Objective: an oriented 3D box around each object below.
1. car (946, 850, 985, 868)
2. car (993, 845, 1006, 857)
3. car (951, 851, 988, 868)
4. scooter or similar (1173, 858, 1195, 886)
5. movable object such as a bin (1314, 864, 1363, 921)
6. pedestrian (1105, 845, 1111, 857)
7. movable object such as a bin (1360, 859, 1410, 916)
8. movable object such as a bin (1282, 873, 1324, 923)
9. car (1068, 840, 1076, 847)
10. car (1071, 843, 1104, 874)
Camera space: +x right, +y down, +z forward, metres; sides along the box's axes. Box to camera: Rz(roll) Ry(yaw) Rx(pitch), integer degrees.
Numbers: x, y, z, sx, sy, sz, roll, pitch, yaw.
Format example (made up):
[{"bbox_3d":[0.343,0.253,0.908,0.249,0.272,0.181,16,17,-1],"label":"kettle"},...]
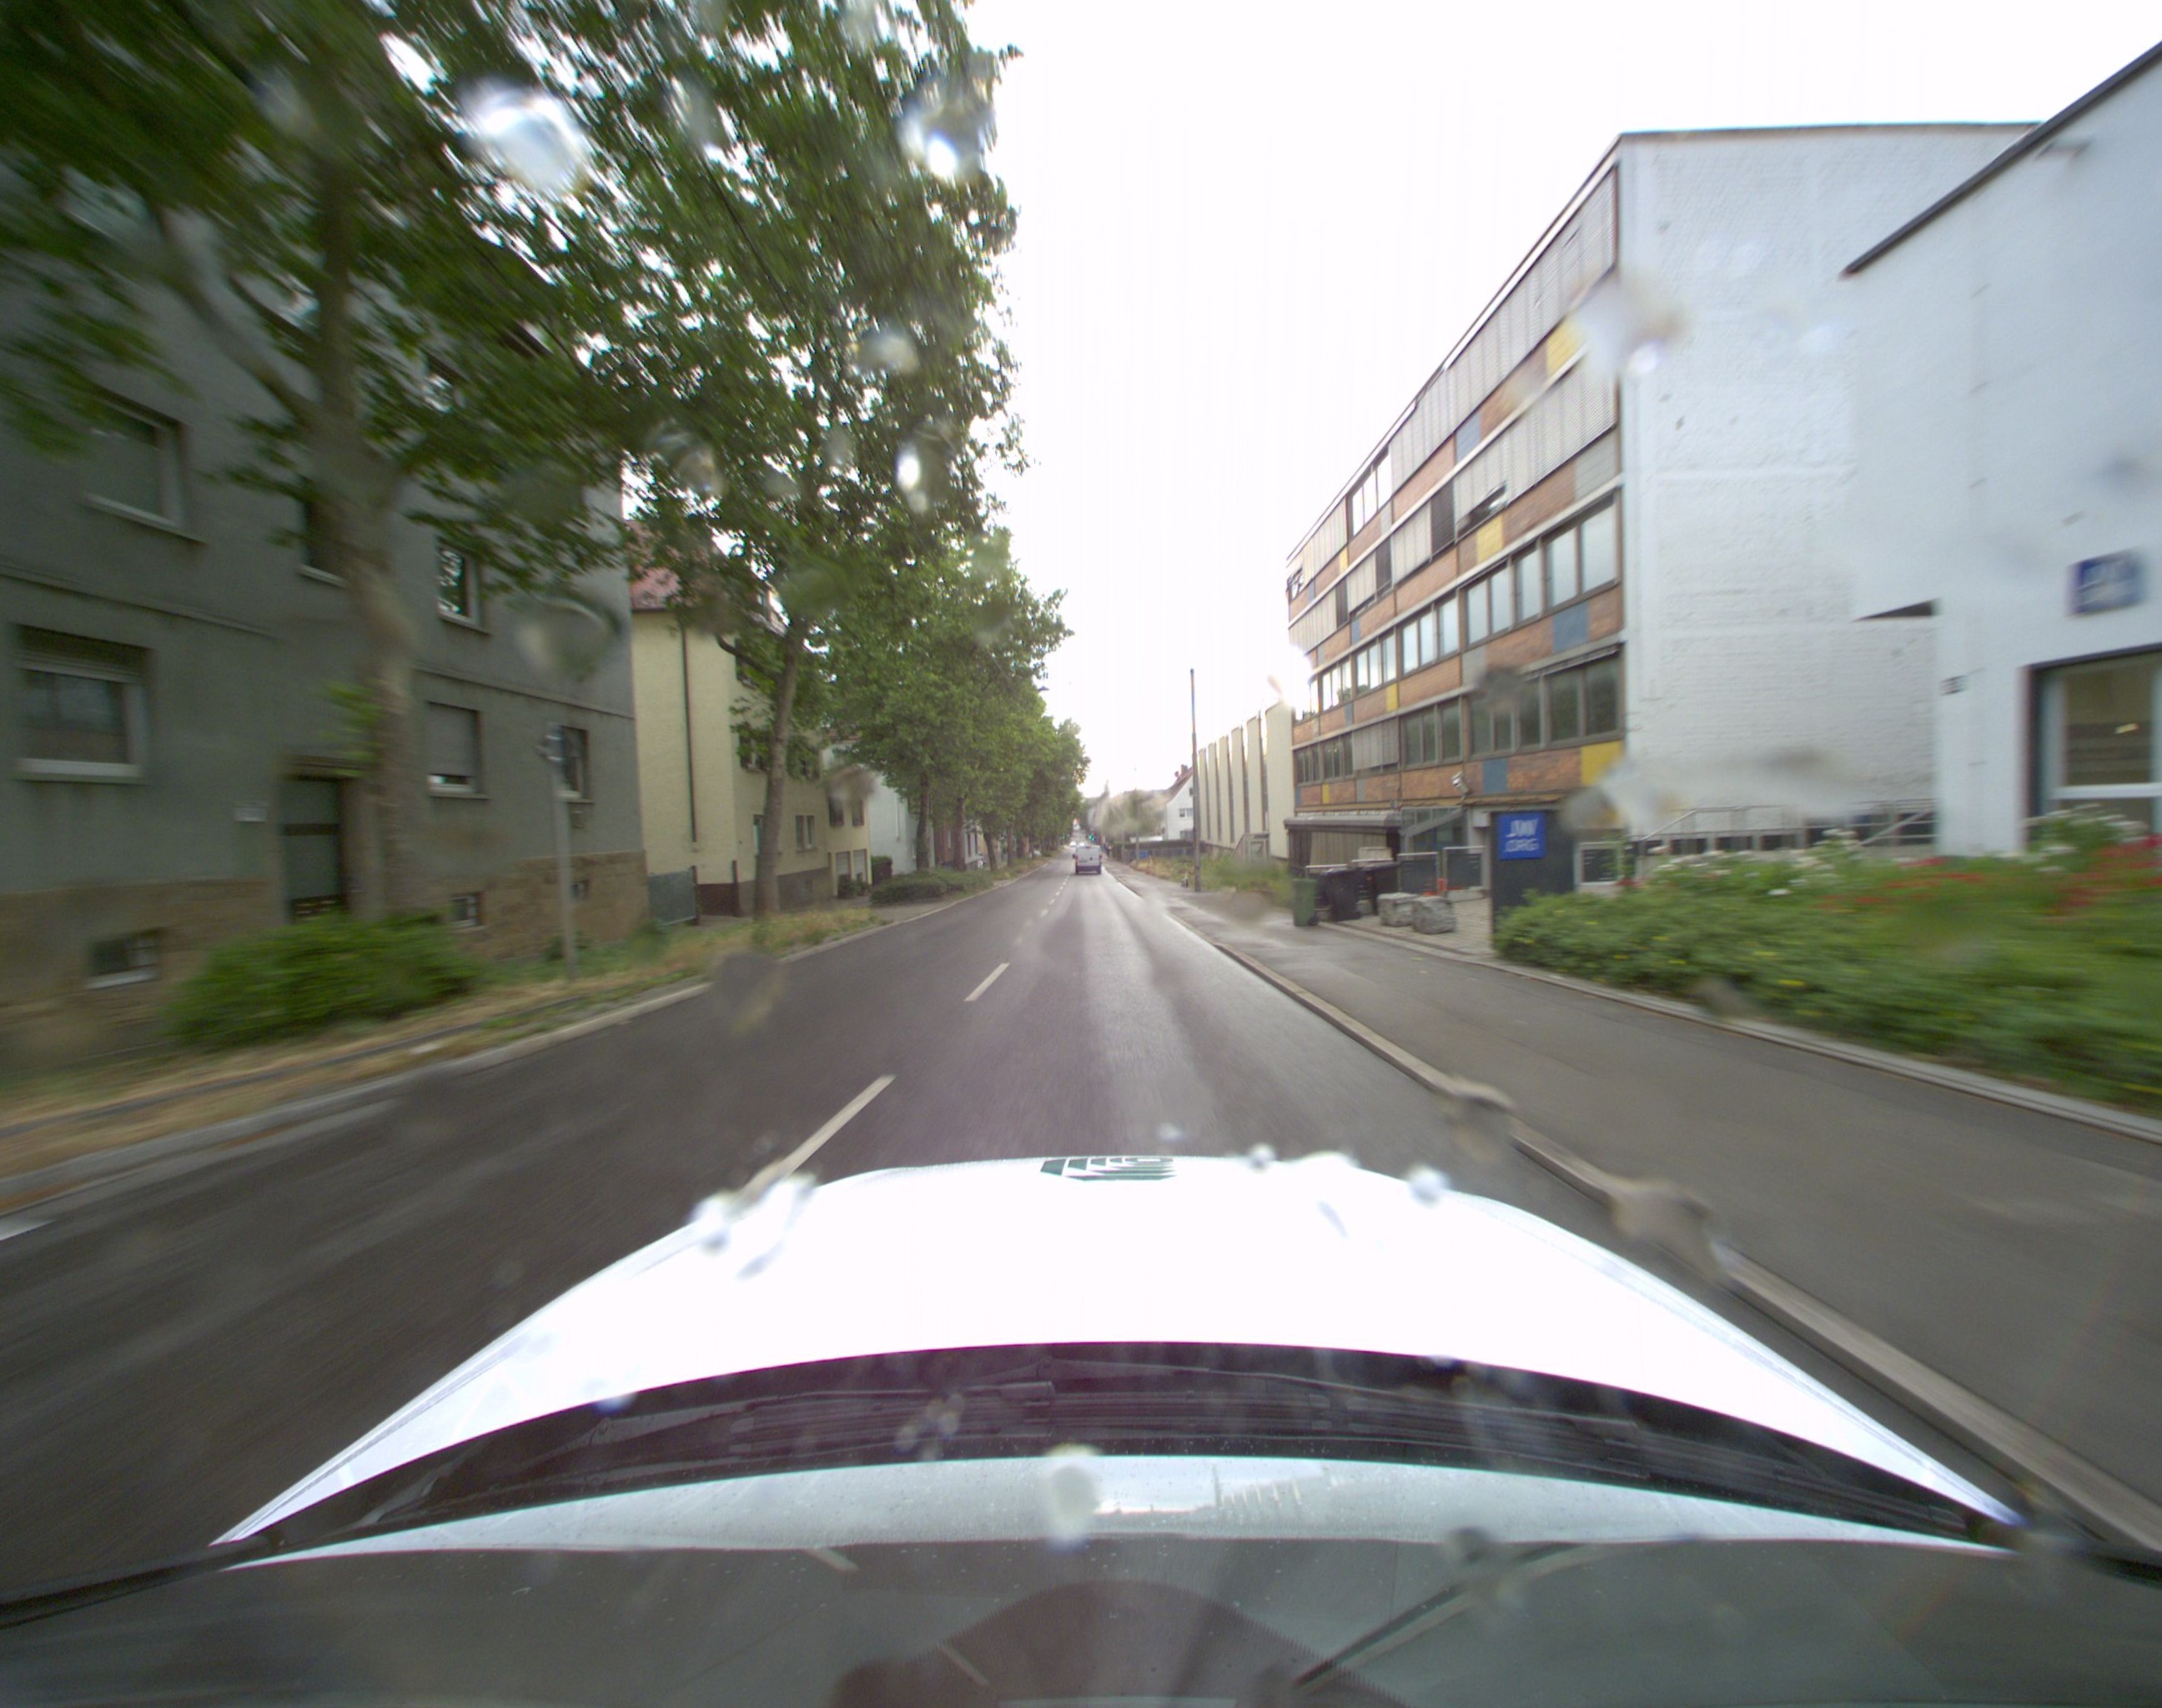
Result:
[{"bbox_3d":[-13.248,0.514,93.858,4.184,1.891,1.999,-2,0,-1],"label":"car"},{"bbox_3d":[-14.333,-0.584,143.196,1.869,1.894,4.000,-2,2,0],"label":"car"},{"bbox_3d":[-13.562,0.615,99.572,4.184,1.891,1.999,-2,0,-1],"label":"car"},{"bbox_3d":[4.467,0.776,35.500,0.604,1.162,1.697,-2,0,-4],"label":"scooter or similar"},{"bbox_3d":[5.293,0.778,16.760,0.692,1.082,0.779,-5,0,1],"label":"movable object such as a bin"},{"bbox_3d":[4.007,-0.476,119.133,0.813,1.698,0.729,-2,0,-1],"label":"pedestrian"},{"bbox_3d":[6.264,0.677,16.813,0.692,1.082,0.779,-5,0,1],"label":"movable object such as a bin"},{"bbox_3d":[4.512,0.890,16.600,0.617,0.936,0.686,-5,0,1],"label":"movable object such as a bin"},{"bbox_3d":[-2.609,-2.985,234.436,1.989,1.709,4.256,-2,0,-2],"label":"car"},{"bbox_3d":[0.484,0.283,65.249,2.340,2.160,4.775,-3,2,-2],"label":"car"}]
